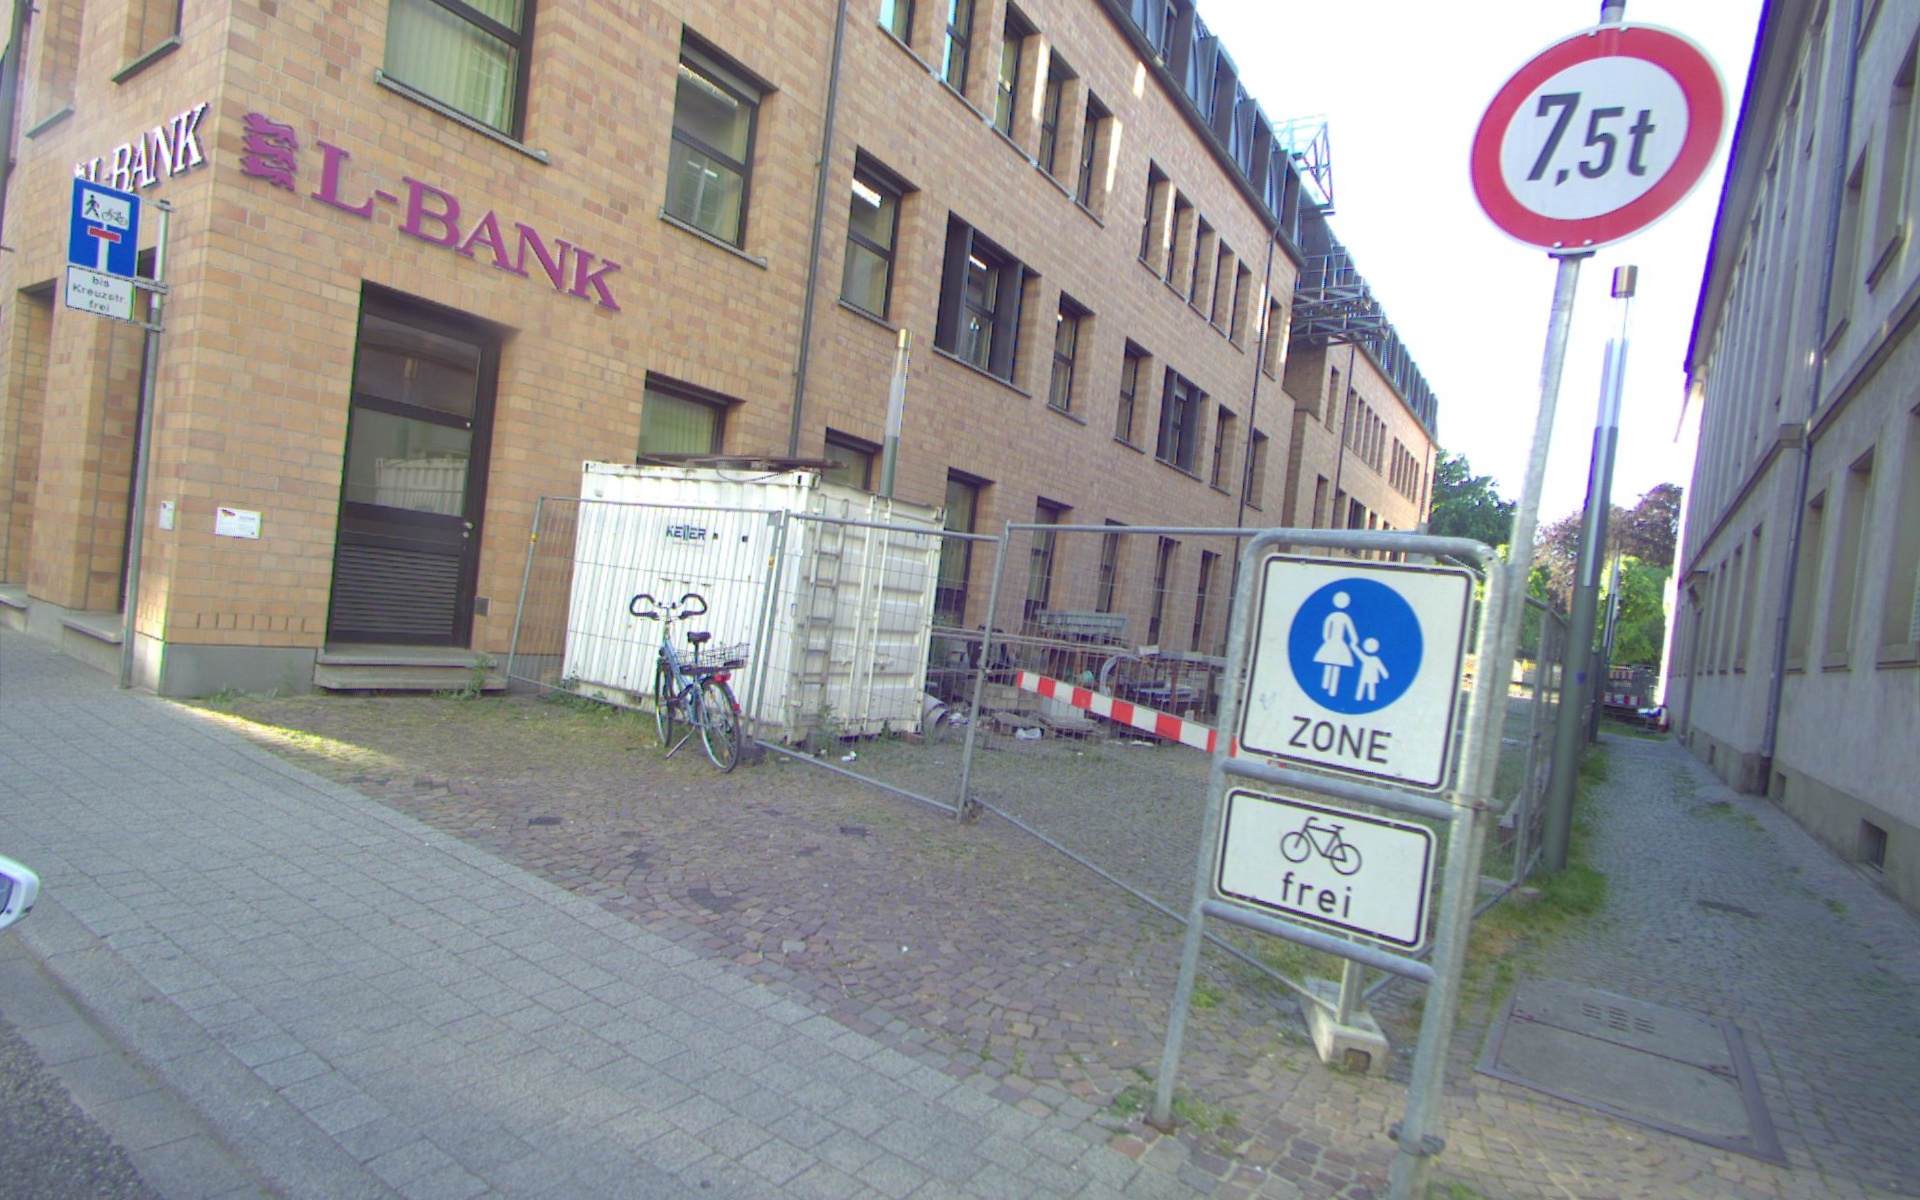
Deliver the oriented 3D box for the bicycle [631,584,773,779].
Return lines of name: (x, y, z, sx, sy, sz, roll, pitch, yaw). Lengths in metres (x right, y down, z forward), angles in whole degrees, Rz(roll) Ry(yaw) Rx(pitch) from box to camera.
bicycle: (-2.004, 0.571, 7.665, 0.317, 1.265, 1.565, 6, 1, -38)
